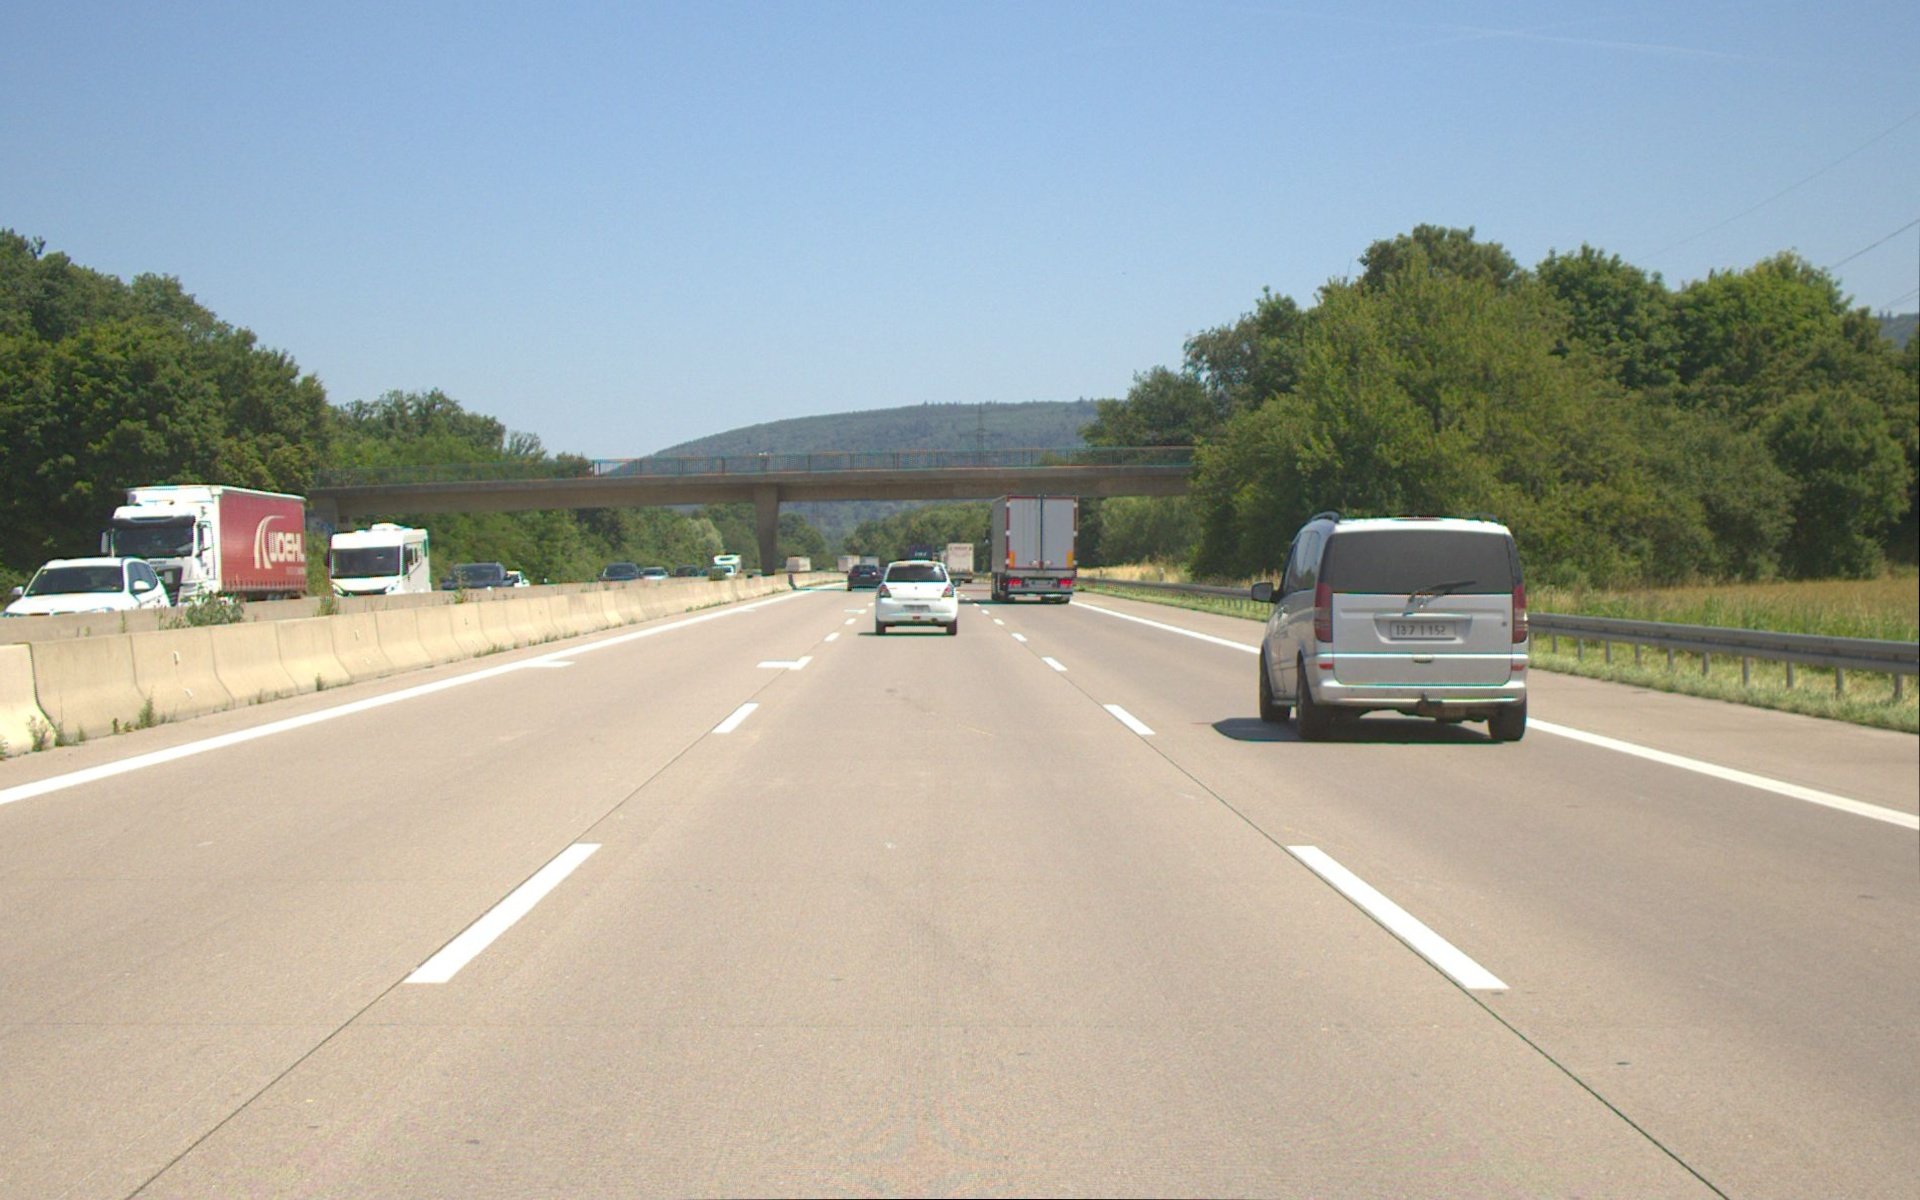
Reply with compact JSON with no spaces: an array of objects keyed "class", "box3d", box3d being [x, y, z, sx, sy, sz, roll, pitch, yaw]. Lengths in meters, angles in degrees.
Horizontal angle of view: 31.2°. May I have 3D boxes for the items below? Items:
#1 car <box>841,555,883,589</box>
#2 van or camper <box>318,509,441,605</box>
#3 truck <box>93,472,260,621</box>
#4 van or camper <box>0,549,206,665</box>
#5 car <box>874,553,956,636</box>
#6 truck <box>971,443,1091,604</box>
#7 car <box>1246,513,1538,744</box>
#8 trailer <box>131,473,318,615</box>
[{"class":"car","box3d":[-5.087,-1.447,178.706,2.022,1.695,4.000,1,0,-3]},{"class":"van or camper","box3d":[-18.166,-1.361,108.026,2.525,2.880,7.938,-1,1,0]},{"class":"truck","box3d":[-21.809,-1.510,96.061,3.000,3.969,7.295,-1,1,0]},{"class":"van or camper","box3d":[-13.399,0.063,53.134,2.241,1.687,5.850,0,1,0]},{"class":"car","box3d":[-0.932,-0.131,71.149,1.641,1.656,3.360,1,1,-1]},{"class":"truck","box3d":[2.590,-2.868,132.793,3.577,5.767,18.249,0,1,-2]},{"class":"car","box3d":[3.754,0.195,30.770,1.879,1.882,5.280,0,1,-1]},{"class":"trailer","box3d":[-21.884,-1.686,103.115,3.000,3.969,12.342,-1,1,0]}]
